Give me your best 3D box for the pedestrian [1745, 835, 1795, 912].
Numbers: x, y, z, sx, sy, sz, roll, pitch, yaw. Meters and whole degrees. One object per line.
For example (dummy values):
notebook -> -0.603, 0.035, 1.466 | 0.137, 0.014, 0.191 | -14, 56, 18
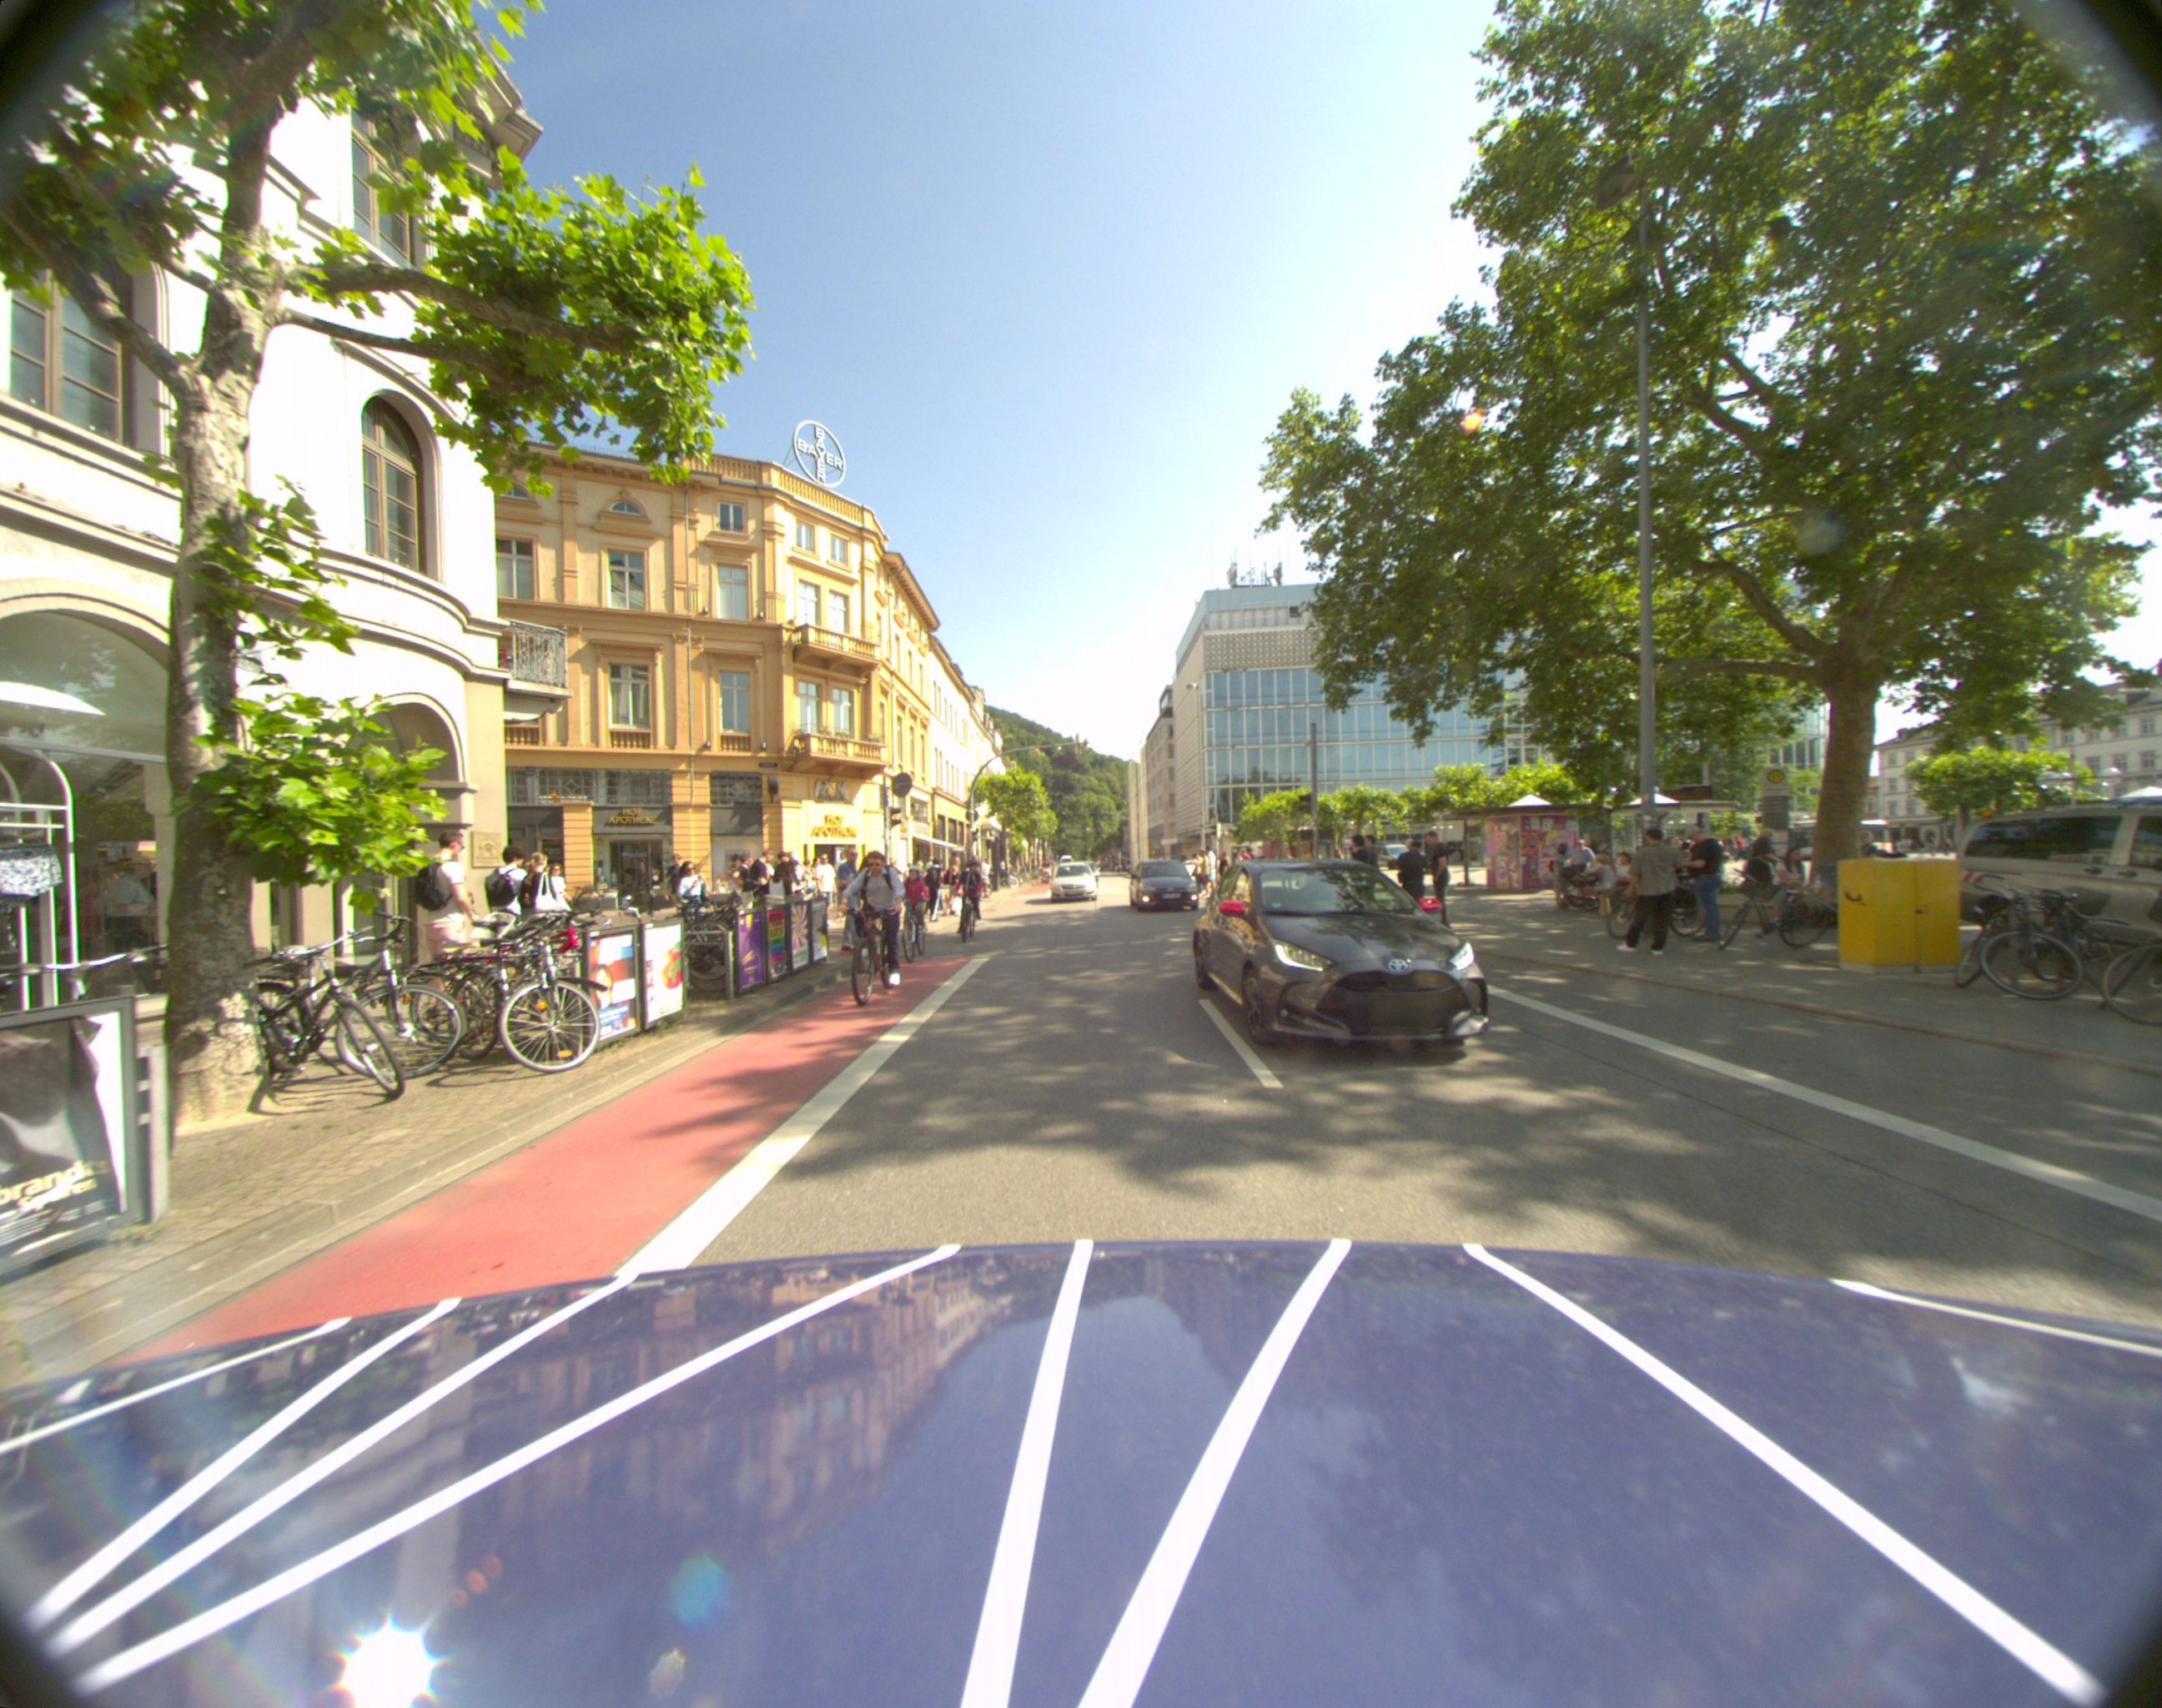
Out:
pedestrian -> 16.038, 0.452, 17.703 | 0.537, 1.737, 0.613 | -3, 1, -10

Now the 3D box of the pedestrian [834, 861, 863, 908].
pedestrian -> -8.977, 1.161, 29.327 | 0.733, 1.794, 0.750 | -1, 0, 38

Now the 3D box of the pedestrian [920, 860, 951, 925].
pedestrian -> -3.862, 1.006, 20.208 | 0.579, 1.675, 0.726 | -3, 1, -23

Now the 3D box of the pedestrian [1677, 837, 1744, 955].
pedestrian -> 9.601, 0.624, 11.594 | 0.516, 1.732, 0.518 | -3, 1, -14

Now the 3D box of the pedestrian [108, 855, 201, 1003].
pedestrian -> -11.612, 0.914, 9.531 | 0.620, 1.754, 0.608 | -3, 1, 34

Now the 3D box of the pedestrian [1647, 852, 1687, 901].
pedestrian -> 18.593, 0.713, 24.097 | 0.753, 1.498, 0.781 | -4, 1, -38

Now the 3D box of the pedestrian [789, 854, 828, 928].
pedestrian -> -7.020, 0.940, 19.575 | 0.665, 1.834, 0.622 | -3, 1, 0

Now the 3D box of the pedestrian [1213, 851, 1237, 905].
pedestrian -> 4.679, 0.769, 24.718 | 0.575, 1.704, 0.652 | -3, 1, -2

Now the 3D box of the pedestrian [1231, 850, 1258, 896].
pedestrian -> 6.389, 0.724, 29.700 | 0.751, 1.737, 0.733 | -3, 1, -10

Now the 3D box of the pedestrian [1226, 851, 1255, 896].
pedestrian -> 6.423, 0.768, 30.611 | 0.876, 1.737, 0.733 | -3, 1, -2

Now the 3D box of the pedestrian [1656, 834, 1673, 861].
pedestrian -> 30.648, -0.347, 39.909 | 0.464, 1.375, 0.437 | -3, 1, -2

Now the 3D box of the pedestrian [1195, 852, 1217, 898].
pedestrian -> 4.861, 0.799, 29.493 | 0.639, 1.737, 0.605 | -3, 1, -2

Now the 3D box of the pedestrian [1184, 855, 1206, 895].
pedestrian -> 5.045, 0.926, 33.556 | 0.731, 1.737, 0.640 | -3, 1, 24

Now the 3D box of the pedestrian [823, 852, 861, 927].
pedestrian -> -6.121, 0.892, 19.509 | 0.686, 1.847, 0.622 | -3, 1, -3

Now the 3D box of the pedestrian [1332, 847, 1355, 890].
pedestrian -> 10.896, 0.608, 31.566 | 0.732, 1.737, 0.640 | -3, 1, 13

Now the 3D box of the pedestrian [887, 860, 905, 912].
pedestrian -> -6.164, 1.058, 25.356 | 0.444, 1.679, 0.478 | -1, 1, 1

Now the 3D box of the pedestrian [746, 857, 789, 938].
pedestrian -> -7.295, 0.997, 17.685 | 0.623, 1.806, 0.631 | -4, 1, -44

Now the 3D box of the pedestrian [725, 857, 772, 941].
pedestrian -> -7.368, 0.981, 16.861 | 0.650, 1.793, 0.699 | -3, 1, -2

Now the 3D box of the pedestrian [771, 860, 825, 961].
pedestrian -> -4.900, 0.954, 13.202 | 0.578, 1.675, 0.775 | -3, 1, -3

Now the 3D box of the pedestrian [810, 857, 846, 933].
pedestrian -> -6.153, 0.987, 18.501 | 0.578, 1.792, 0.697 | -3, 1, -3

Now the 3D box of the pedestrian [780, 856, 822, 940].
pedestrian -> -5.965, 0.927, 16.215 | 0.578, 1.729, 0.622 | -3, 1, -3

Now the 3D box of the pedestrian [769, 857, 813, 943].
pedestrian -> -5.942, 0.925, 15.582 | 0.578, 1.714, 0.622 | -3, 1, -3

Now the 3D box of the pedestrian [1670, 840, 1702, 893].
pedestrian -> 17.113, 0.347, 21.500 | 0.455, 1.464, 0.555 | -3, 1, 8

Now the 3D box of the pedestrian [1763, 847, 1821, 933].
pedestrian -> 12.620, 0.624, 13.507 | 0.579, 1.452, 0.787 | -3, 1, 33

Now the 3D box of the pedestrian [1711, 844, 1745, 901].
pedestrian -> 17.734, 0.503, 20.843 | 0.491, 1.517, 0.456 | -3, 1, 7

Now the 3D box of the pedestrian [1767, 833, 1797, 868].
pedestrian -> 36.458, -0.181, 39.514 | 0.752, 1.737, 0.782 | -3, 1, -10

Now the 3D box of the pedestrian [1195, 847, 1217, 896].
pedestrian -> 5.086, 0.707, 30.976 | 0.639, 1.909, 0.860 | -3, 1, -2

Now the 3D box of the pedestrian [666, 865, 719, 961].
pedestrian -> -6.710, 1.005, 13.126 | 0.517, 1.574, 0.584 | -3, 1, 39

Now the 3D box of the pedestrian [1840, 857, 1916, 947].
pedestrian -> 16.193, 0.958, 15.447 | 0.668, 1.737, 0.782 | -3, 1, -10

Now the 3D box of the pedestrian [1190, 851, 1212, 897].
pedestrian -> 4.773, 0.783, 30.174 | 0.639, 1.737, 0.733 | -3, 1, -2

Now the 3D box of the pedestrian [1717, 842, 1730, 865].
pedestrian -> 42.089, -0.053, 49.807 | 0.554, 1.464, 0.759 | -3, 1, 36

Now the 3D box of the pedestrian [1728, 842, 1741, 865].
pedestrian -> 42.745, -0.054, 49.727 | 0.554, 1.464, 0.759 | -3, 1, 36

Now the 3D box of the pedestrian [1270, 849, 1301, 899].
pedestrian -> 7.532, 0.726, 27.968 | 0.722, 1.737, 0.884 | -3, 1, -10

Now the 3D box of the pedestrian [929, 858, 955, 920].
pedestrian -> -3.945, 0.965, 21.530 | 0.606, 1.726, 0.647 | 0, 1, -23

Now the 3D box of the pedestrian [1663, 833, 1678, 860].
pedestrian -> 33.396, -0.414, 43.030 | 0.464, 1.464, 0.410 | -3, 1, -3

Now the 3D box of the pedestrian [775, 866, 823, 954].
pedestrian -> -5.224, 1.021, 14.103 | 0.578, 1.574, 0.622 | -3, 1, -3

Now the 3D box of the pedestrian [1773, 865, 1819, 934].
pedestrian -> 12.528, 0.798, 13.324 | 0.506, 1.166, 0.349 | -3, 1, 33

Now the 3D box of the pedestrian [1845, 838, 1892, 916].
pedestrian -> 17.146, 0.495, 16.549 | 0.503, 1.658, 0.471 | -3, 1, -11

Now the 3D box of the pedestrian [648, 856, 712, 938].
pedestrian -> -9.074, 0.951, 17.244 | 0.621, 1.748, 1.187 | -3, 1, 7

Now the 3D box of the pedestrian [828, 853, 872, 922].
pedestrian -> -6.330, 0.912, 20.864 | 0.621, 1.834, 0.857 | -3, 1, 38

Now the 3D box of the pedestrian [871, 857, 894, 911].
pedestrian -> -6.730, 1.014, 25.803 | 0.578, 1.804, 0.605 | 1, 1, 1

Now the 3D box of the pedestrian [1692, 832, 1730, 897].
pedestrian -> 17.149, 0.276, 20.683 | 0.554, 1.717, 0.492 | -3, 1, 7

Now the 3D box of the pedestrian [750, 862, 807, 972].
pedestrian -> -4.851, 0.993, 12.186 | 0.579, 1.675, 0.620 | -4, 1, -41

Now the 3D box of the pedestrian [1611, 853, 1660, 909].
pedestrian -> 12.879, 0.615, 17.644 | 0.672, 1.234, 0.614 | -3, 1, -21

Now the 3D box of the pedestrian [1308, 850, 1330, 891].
pedestrian -> 9.960, 0.705, 31.831 | 0.732, 1.660, 0.640 | -3, 1, 13

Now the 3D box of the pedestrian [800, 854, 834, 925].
pedestrian -> -7.082, 0.934, 20.398 | 0.578, 1.834, 0.622 | -3, 1, 0

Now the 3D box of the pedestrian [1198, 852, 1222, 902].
pedestrian -> 4.657, 0.815, 27.530 | 0.639, 1.737, 0.733 | -3, 1, -2

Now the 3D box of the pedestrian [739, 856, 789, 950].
pedestrian -> -5.862, 0.893, 14.072 | 0.578, 1.675, 0.622 | -3, 1, -3

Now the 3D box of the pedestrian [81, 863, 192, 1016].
pedestrian -> -10.947, 0.954, 8.812 | 0.620, 1.658, 0.688 | -3, 1, 34

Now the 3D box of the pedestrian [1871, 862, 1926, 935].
pedestrian -> 13.923, 0.755, 12.948 | 0.500, 1.199, 0.460 | -3, 1, 33

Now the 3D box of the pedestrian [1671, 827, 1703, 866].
pedestrian -> 28.349, -0.341, 35.553 | 0.752, 1.737, 0.782 | -3, 1, -10
